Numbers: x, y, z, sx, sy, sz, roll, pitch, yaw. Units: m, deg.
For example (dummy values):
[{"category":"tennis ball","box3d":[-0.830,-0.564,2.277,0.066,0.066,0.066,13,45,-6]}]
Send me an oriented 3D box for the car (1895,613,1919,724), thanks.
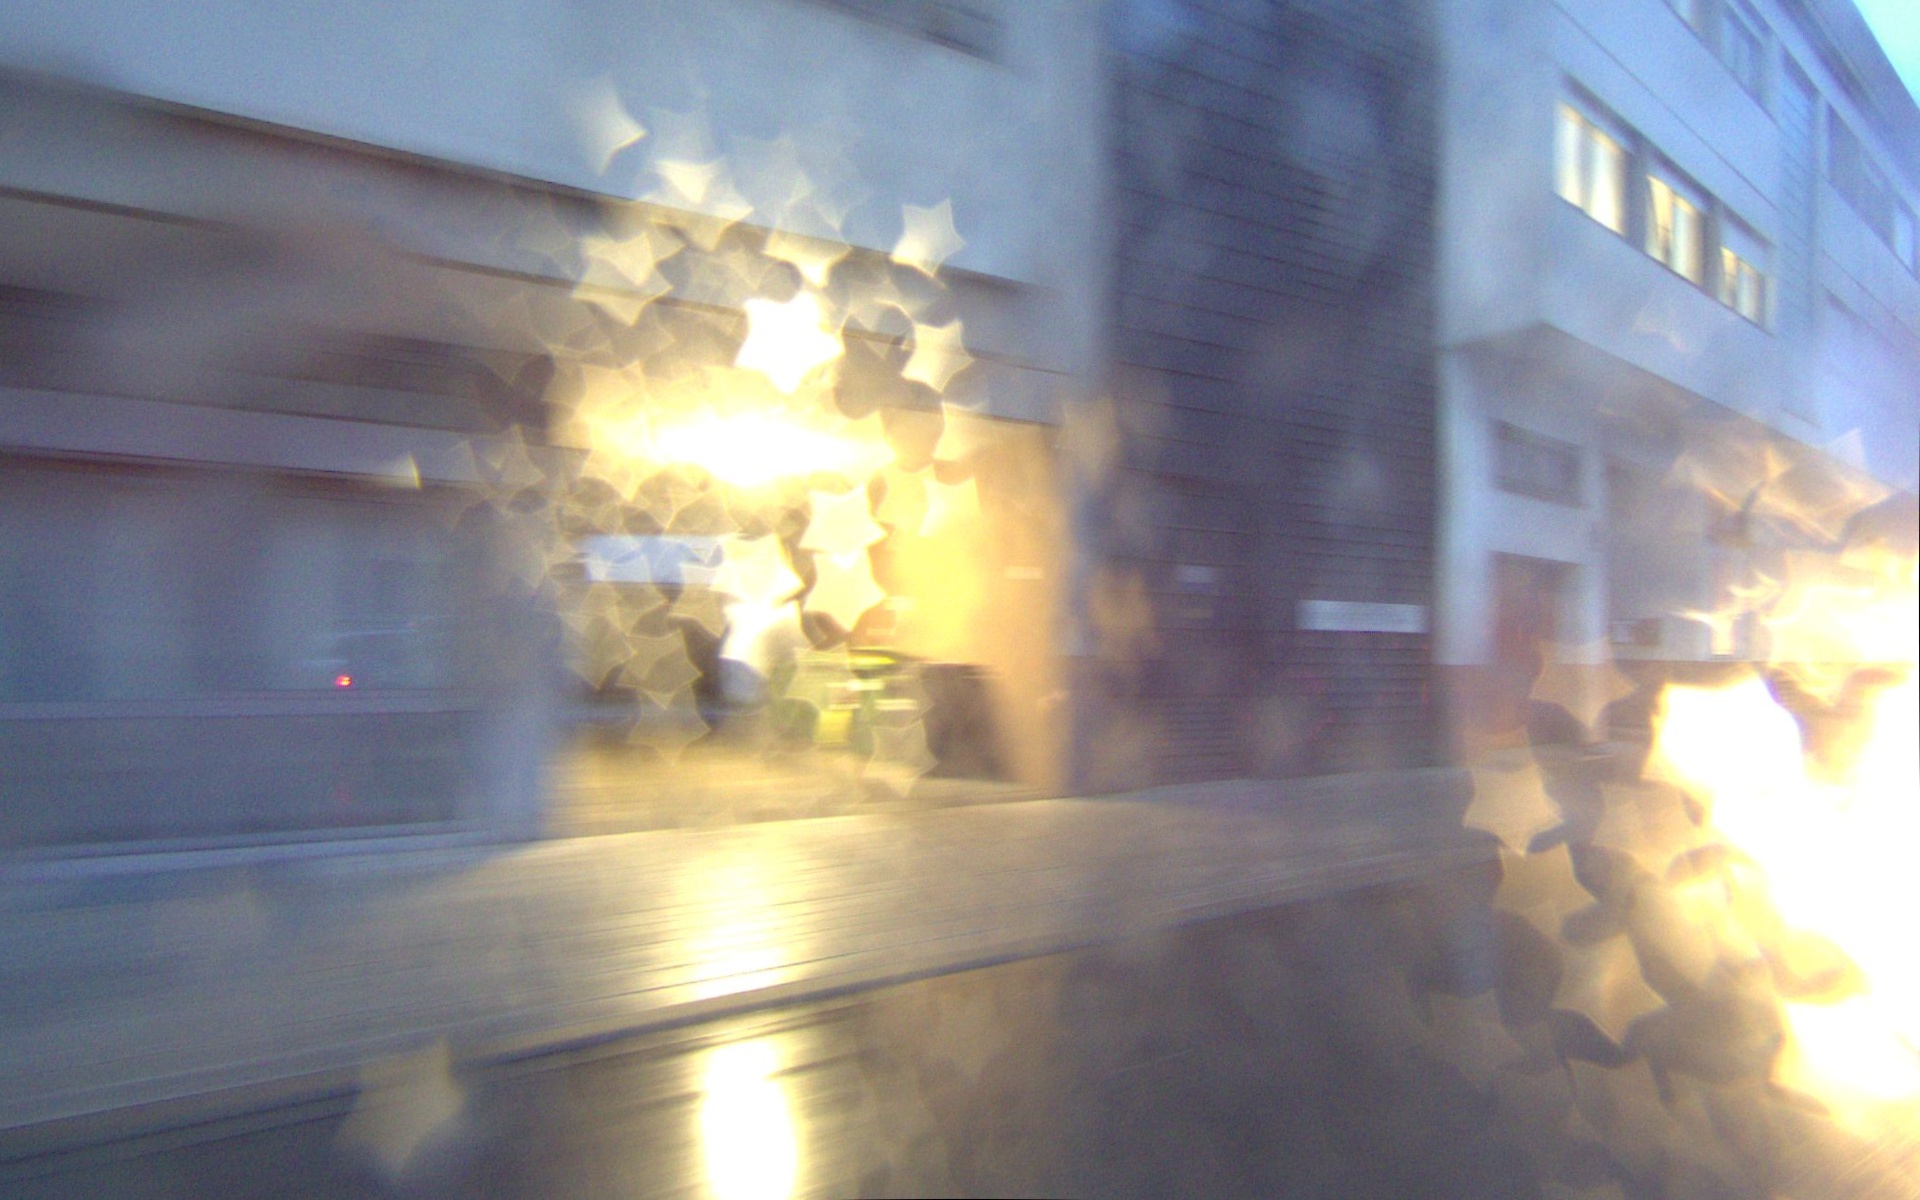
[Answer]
[{"category":"car","box3d":[16.287,1.061,15.681,3.775,1.664,1.782,1,0,-36]}]
